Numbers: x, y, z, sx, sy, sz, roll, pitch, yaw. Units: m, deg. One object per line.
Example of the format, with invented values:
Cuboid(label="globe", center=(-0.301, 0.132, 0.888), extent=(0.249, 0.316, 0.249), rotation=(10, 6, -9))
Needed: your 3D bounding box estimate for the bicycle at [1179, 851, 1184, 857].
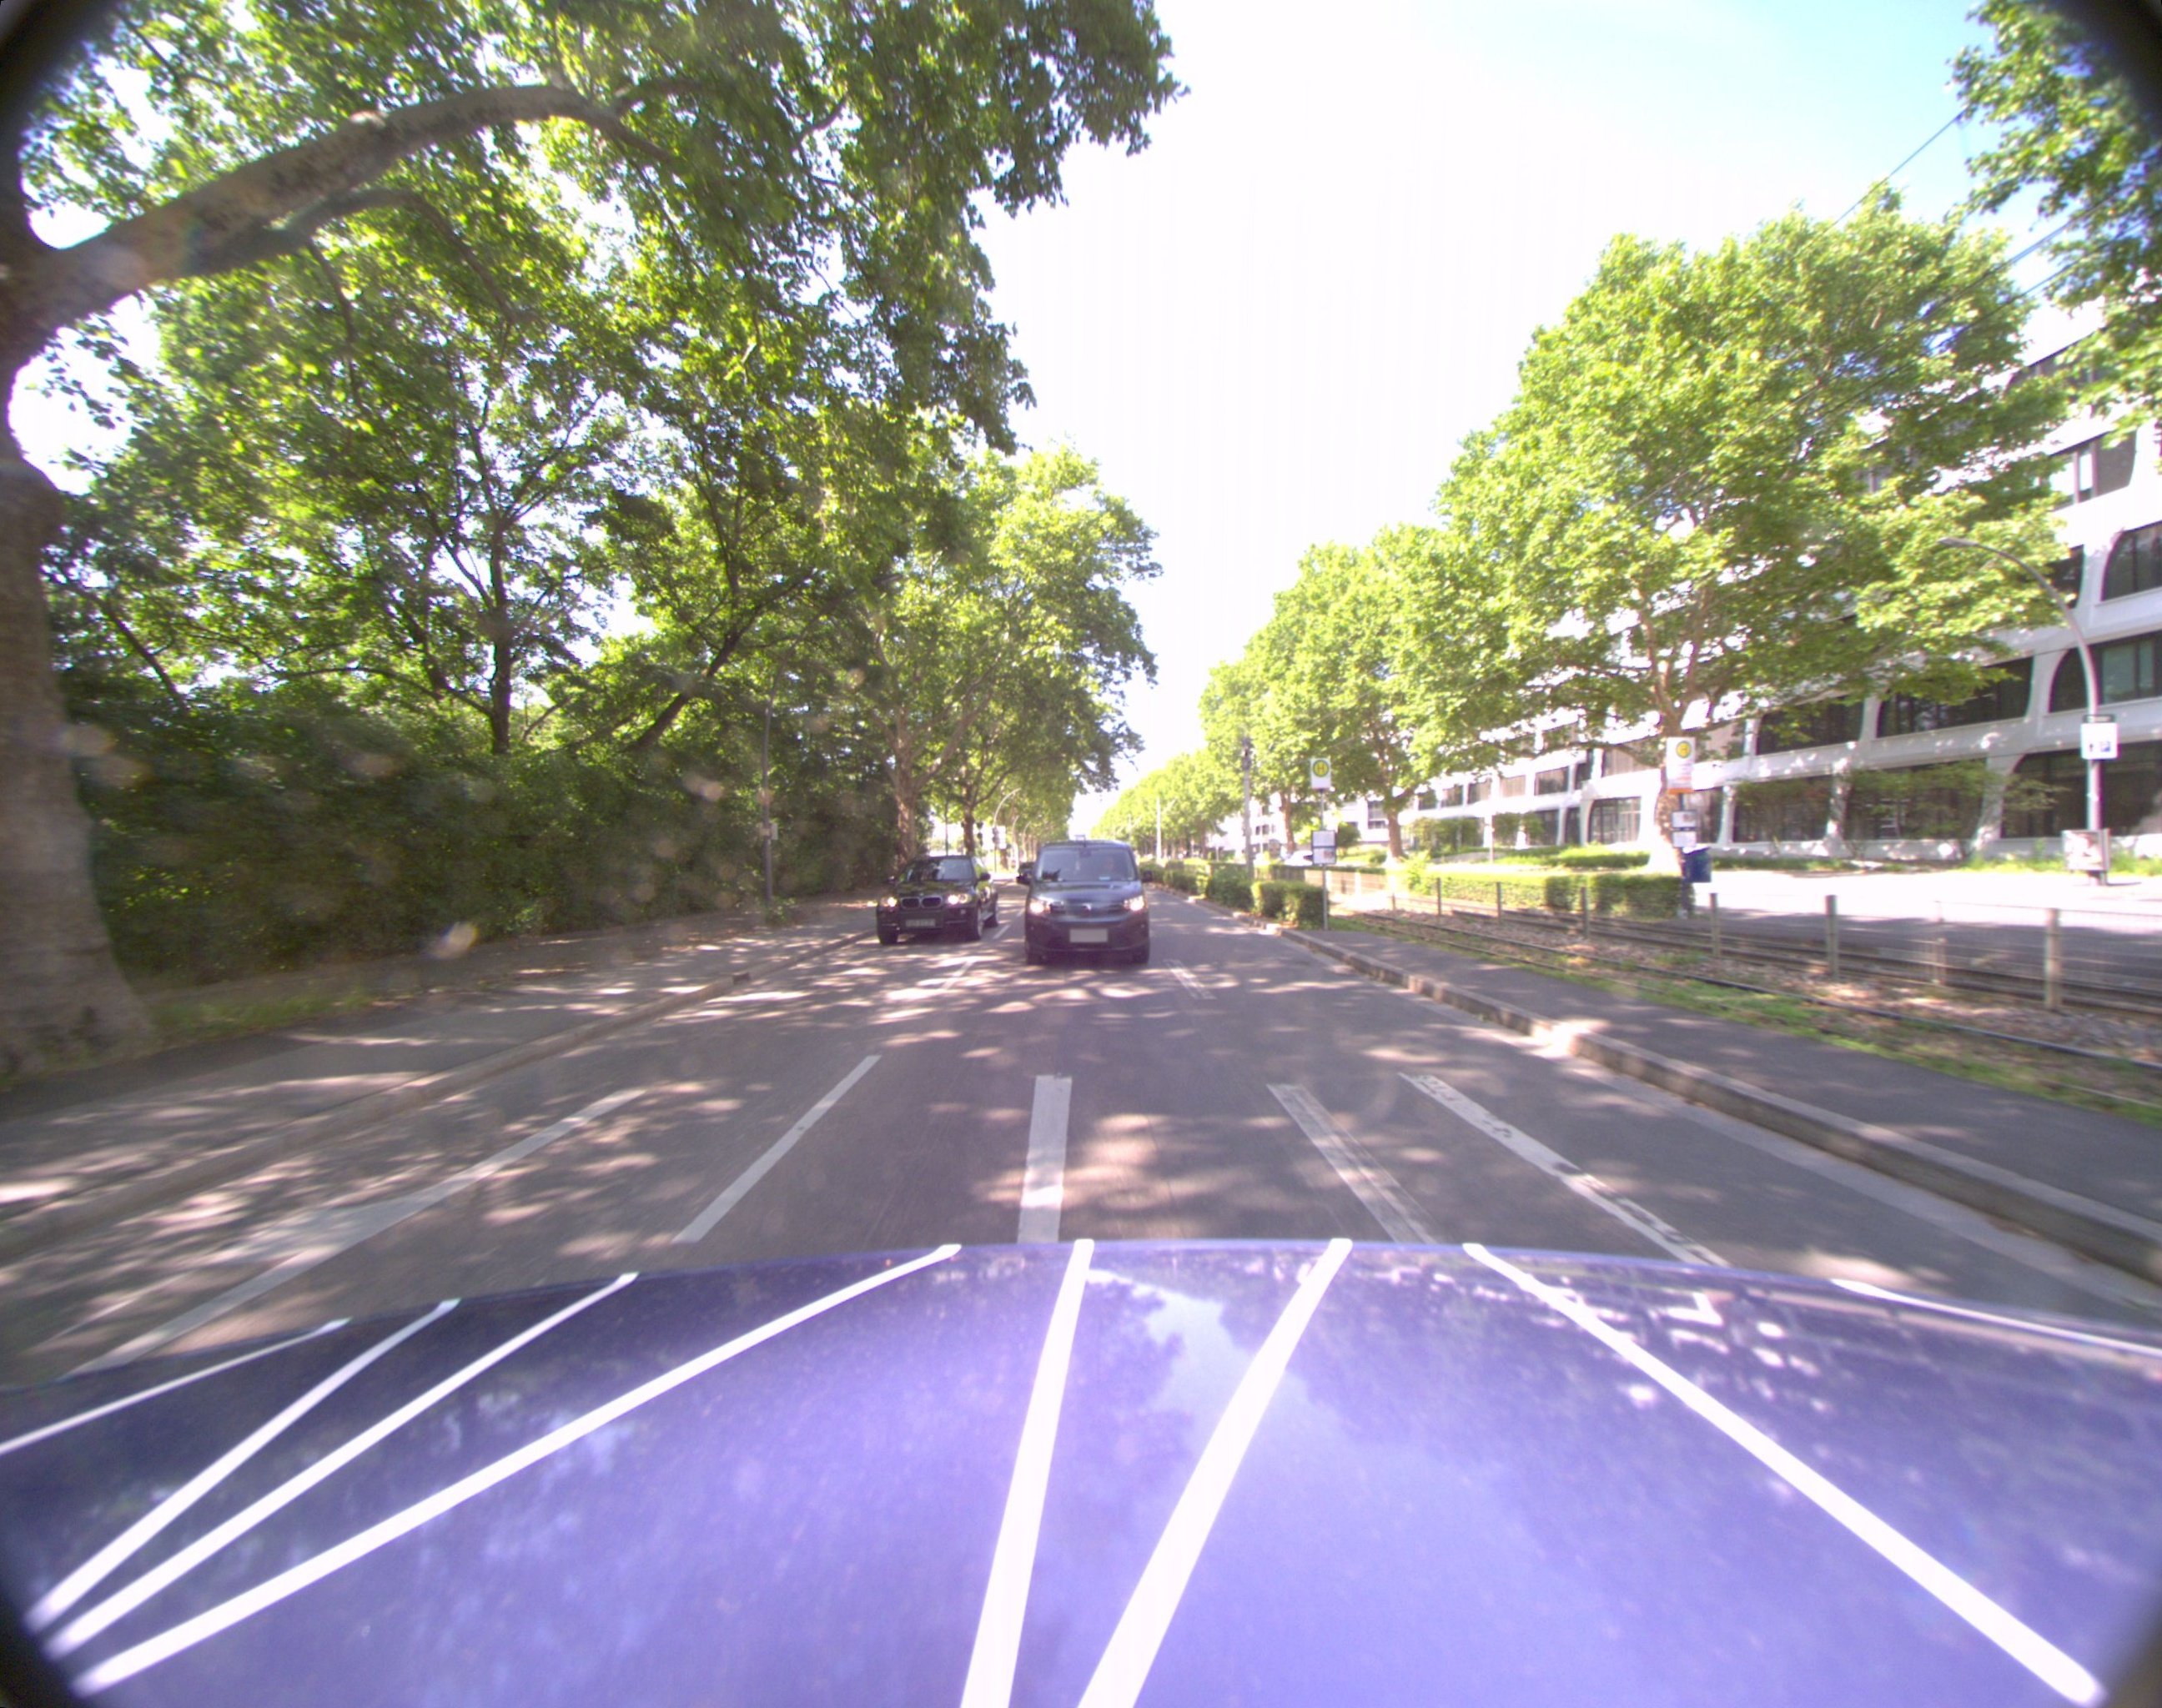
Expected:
Cuboid(label="bicycle", center=(19.917, -0.081, 150.113), extent=(0.666, 1.117, 2.030), rotation=(-2, 0, 0))

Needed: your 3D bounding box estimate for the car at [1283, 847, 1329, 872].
Cuboid(label="car", center=(15.278, 0.369, 51.881), extent=(1.815, 1.554, 4.304), rotation=(-2, 0, 0))

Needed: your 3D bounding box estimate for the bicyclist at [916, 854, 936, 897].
Cuboid(label="bicyclist", center=(-5.887, 0.806, 28.902), extent=(0.621, 1.590, 0.732), rotation=(0, 0, -2))

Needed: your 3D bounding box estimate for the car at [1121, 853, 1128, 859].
Cuboid(label="car", center=(13.549, 0.629, 236.312), extent=(1.761, 1.560, 4.018), rotation=(-2, 0, 0))

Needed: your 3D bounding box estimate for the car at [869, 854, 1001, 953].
Cuboid(label="car", center=(-2.897, 0.911, 16.031), extent=(1.924, 1.720, 4.151), rotation=(-3, 0, 0))

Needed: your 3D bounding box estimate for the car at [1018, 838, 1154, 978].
Cuboid(label="car", center=(0.092, 0.713, 12.135), extent=(1.790, 1.839, 4.000), rotation=(-1, 0, 1))

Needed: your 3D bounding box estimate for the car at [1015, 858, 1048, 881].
Cuboid(label="car", center=(-3.282, 1.009, 51.548), extent=(1.854, 1.418, 4.151), rotation=(-3, 0, 1))

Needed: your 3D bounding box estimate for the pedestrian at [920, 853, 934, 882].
Cuboid(label="pedestrian", center=(-9.719, 0.840, 47.949), extent=(0.633, 1.775, 0.874), rotation=(-2, 1, 0))

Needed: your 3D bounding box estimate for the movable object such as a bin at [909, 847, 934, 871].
Cuboid(label="movable object such as a bin", center=(-21.661, 0.673, 103.411), extent=(2.376, 3.054, 5.984), rotation=(-2, 0, -3))
